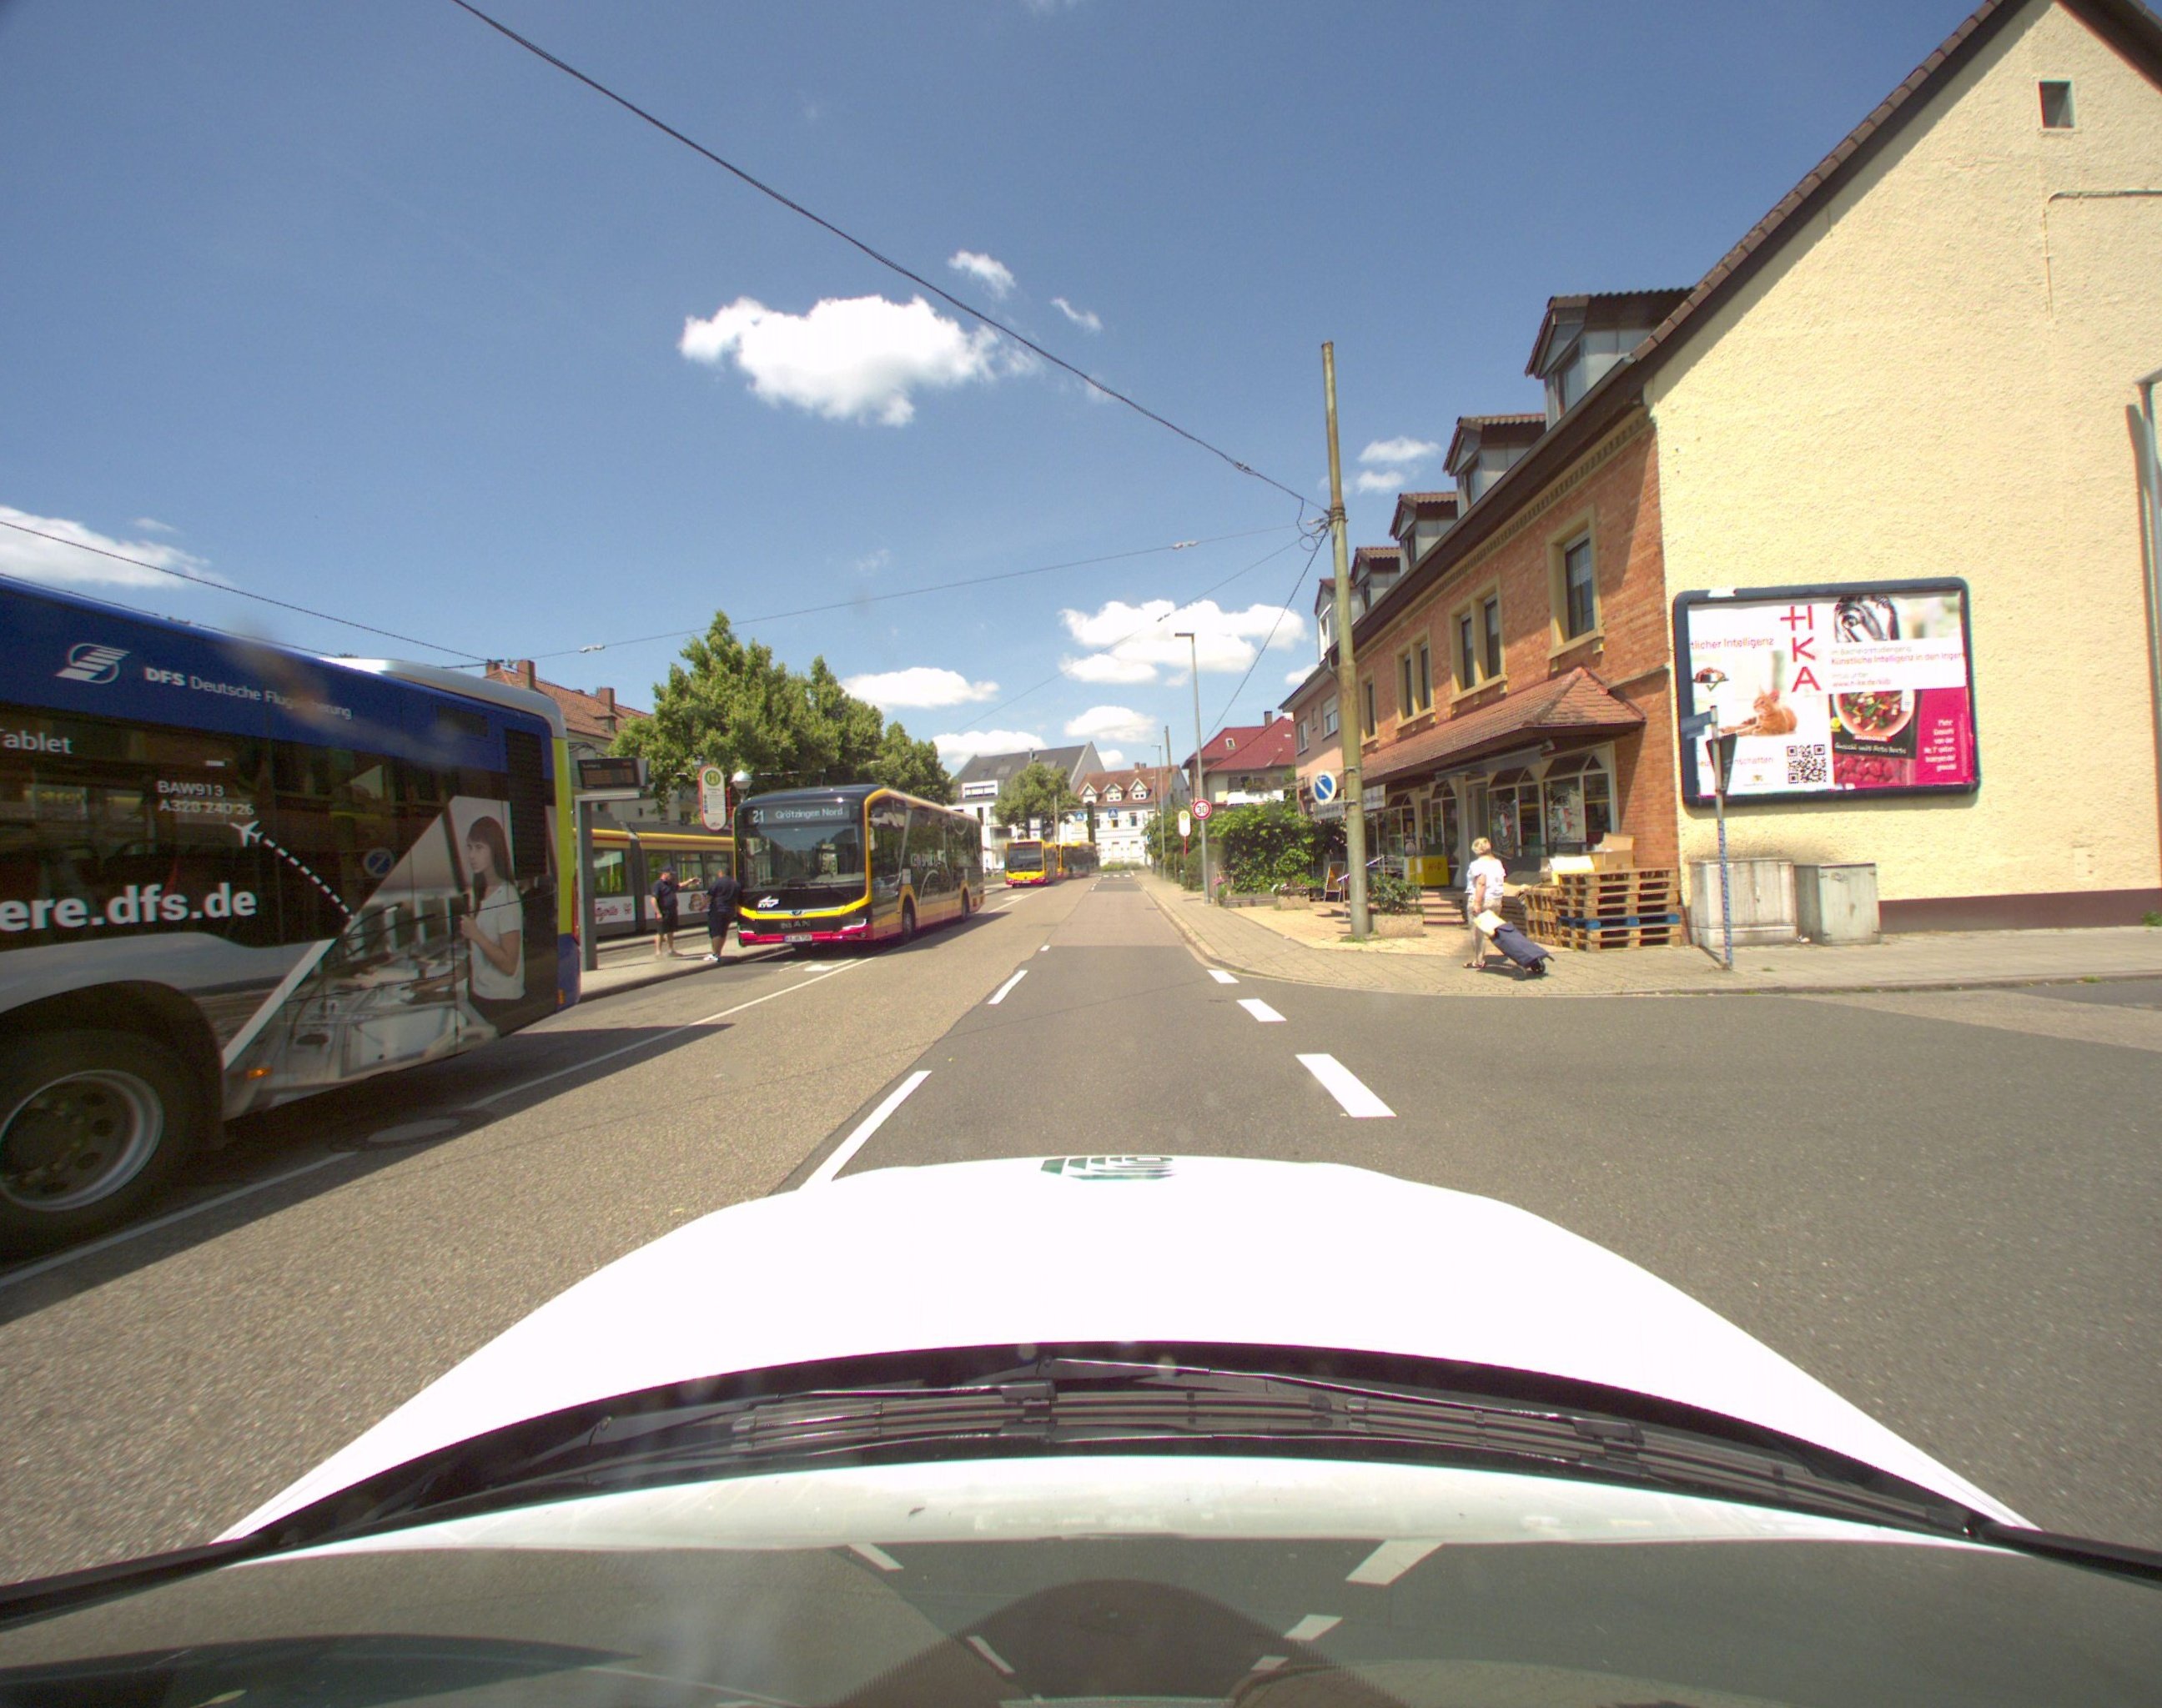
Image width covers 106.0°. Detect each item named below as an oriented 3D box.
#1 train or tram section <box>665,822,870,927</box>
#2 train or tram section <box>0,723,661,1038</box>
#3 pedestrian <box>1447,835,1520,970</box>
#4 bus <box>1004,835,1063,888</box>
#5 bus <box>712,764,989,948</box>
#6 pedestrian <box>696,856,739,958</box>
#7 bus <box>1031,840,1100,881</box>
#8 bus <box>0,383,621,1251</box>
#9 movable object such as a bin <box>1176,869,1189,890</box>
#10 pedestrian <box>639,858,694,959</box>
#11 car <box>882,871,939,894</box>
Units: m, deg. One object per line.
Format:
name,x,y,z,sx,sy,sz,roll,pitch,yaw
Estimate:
train or tram section,-12.790,0.825,35.492,2.951,3.643,14.001,-1,-1,3
train or tram section,-13.776,0.406,14.439,2.951,3.643,17.361,-1,-1,3
pedestrian,5.093,0.599,10.344,0.698,1.641,0.663,-3,0,23
bus,-3.107,0.567,56.783,2.896,3.248,12.123,-1,-1,2
bus,-4.782,0.236,20.535,2.886,3.248,12.204,-1,-2,3
pedestrian,-6.478,0.938,14.522,0.597,1.777,0.381,1,-3,-40
bus,-1.085,0.472,70.211,2.759,3.208,12.353,-1,0,14
bus,-5.791,-0.204,1.251,2.896,3.427,12.043,-1,-2,2
movable object such as a bin,4.639,1.171,37.287,0.405,0.907,0.729,-6,-2,-1
pedestrian,-7.576,0.975,14.885,0.787,1.777,0.567,1,-3,-40
car,-10.395,1.728,49.535,3.286,1.373,1.460,0,-2,-18
